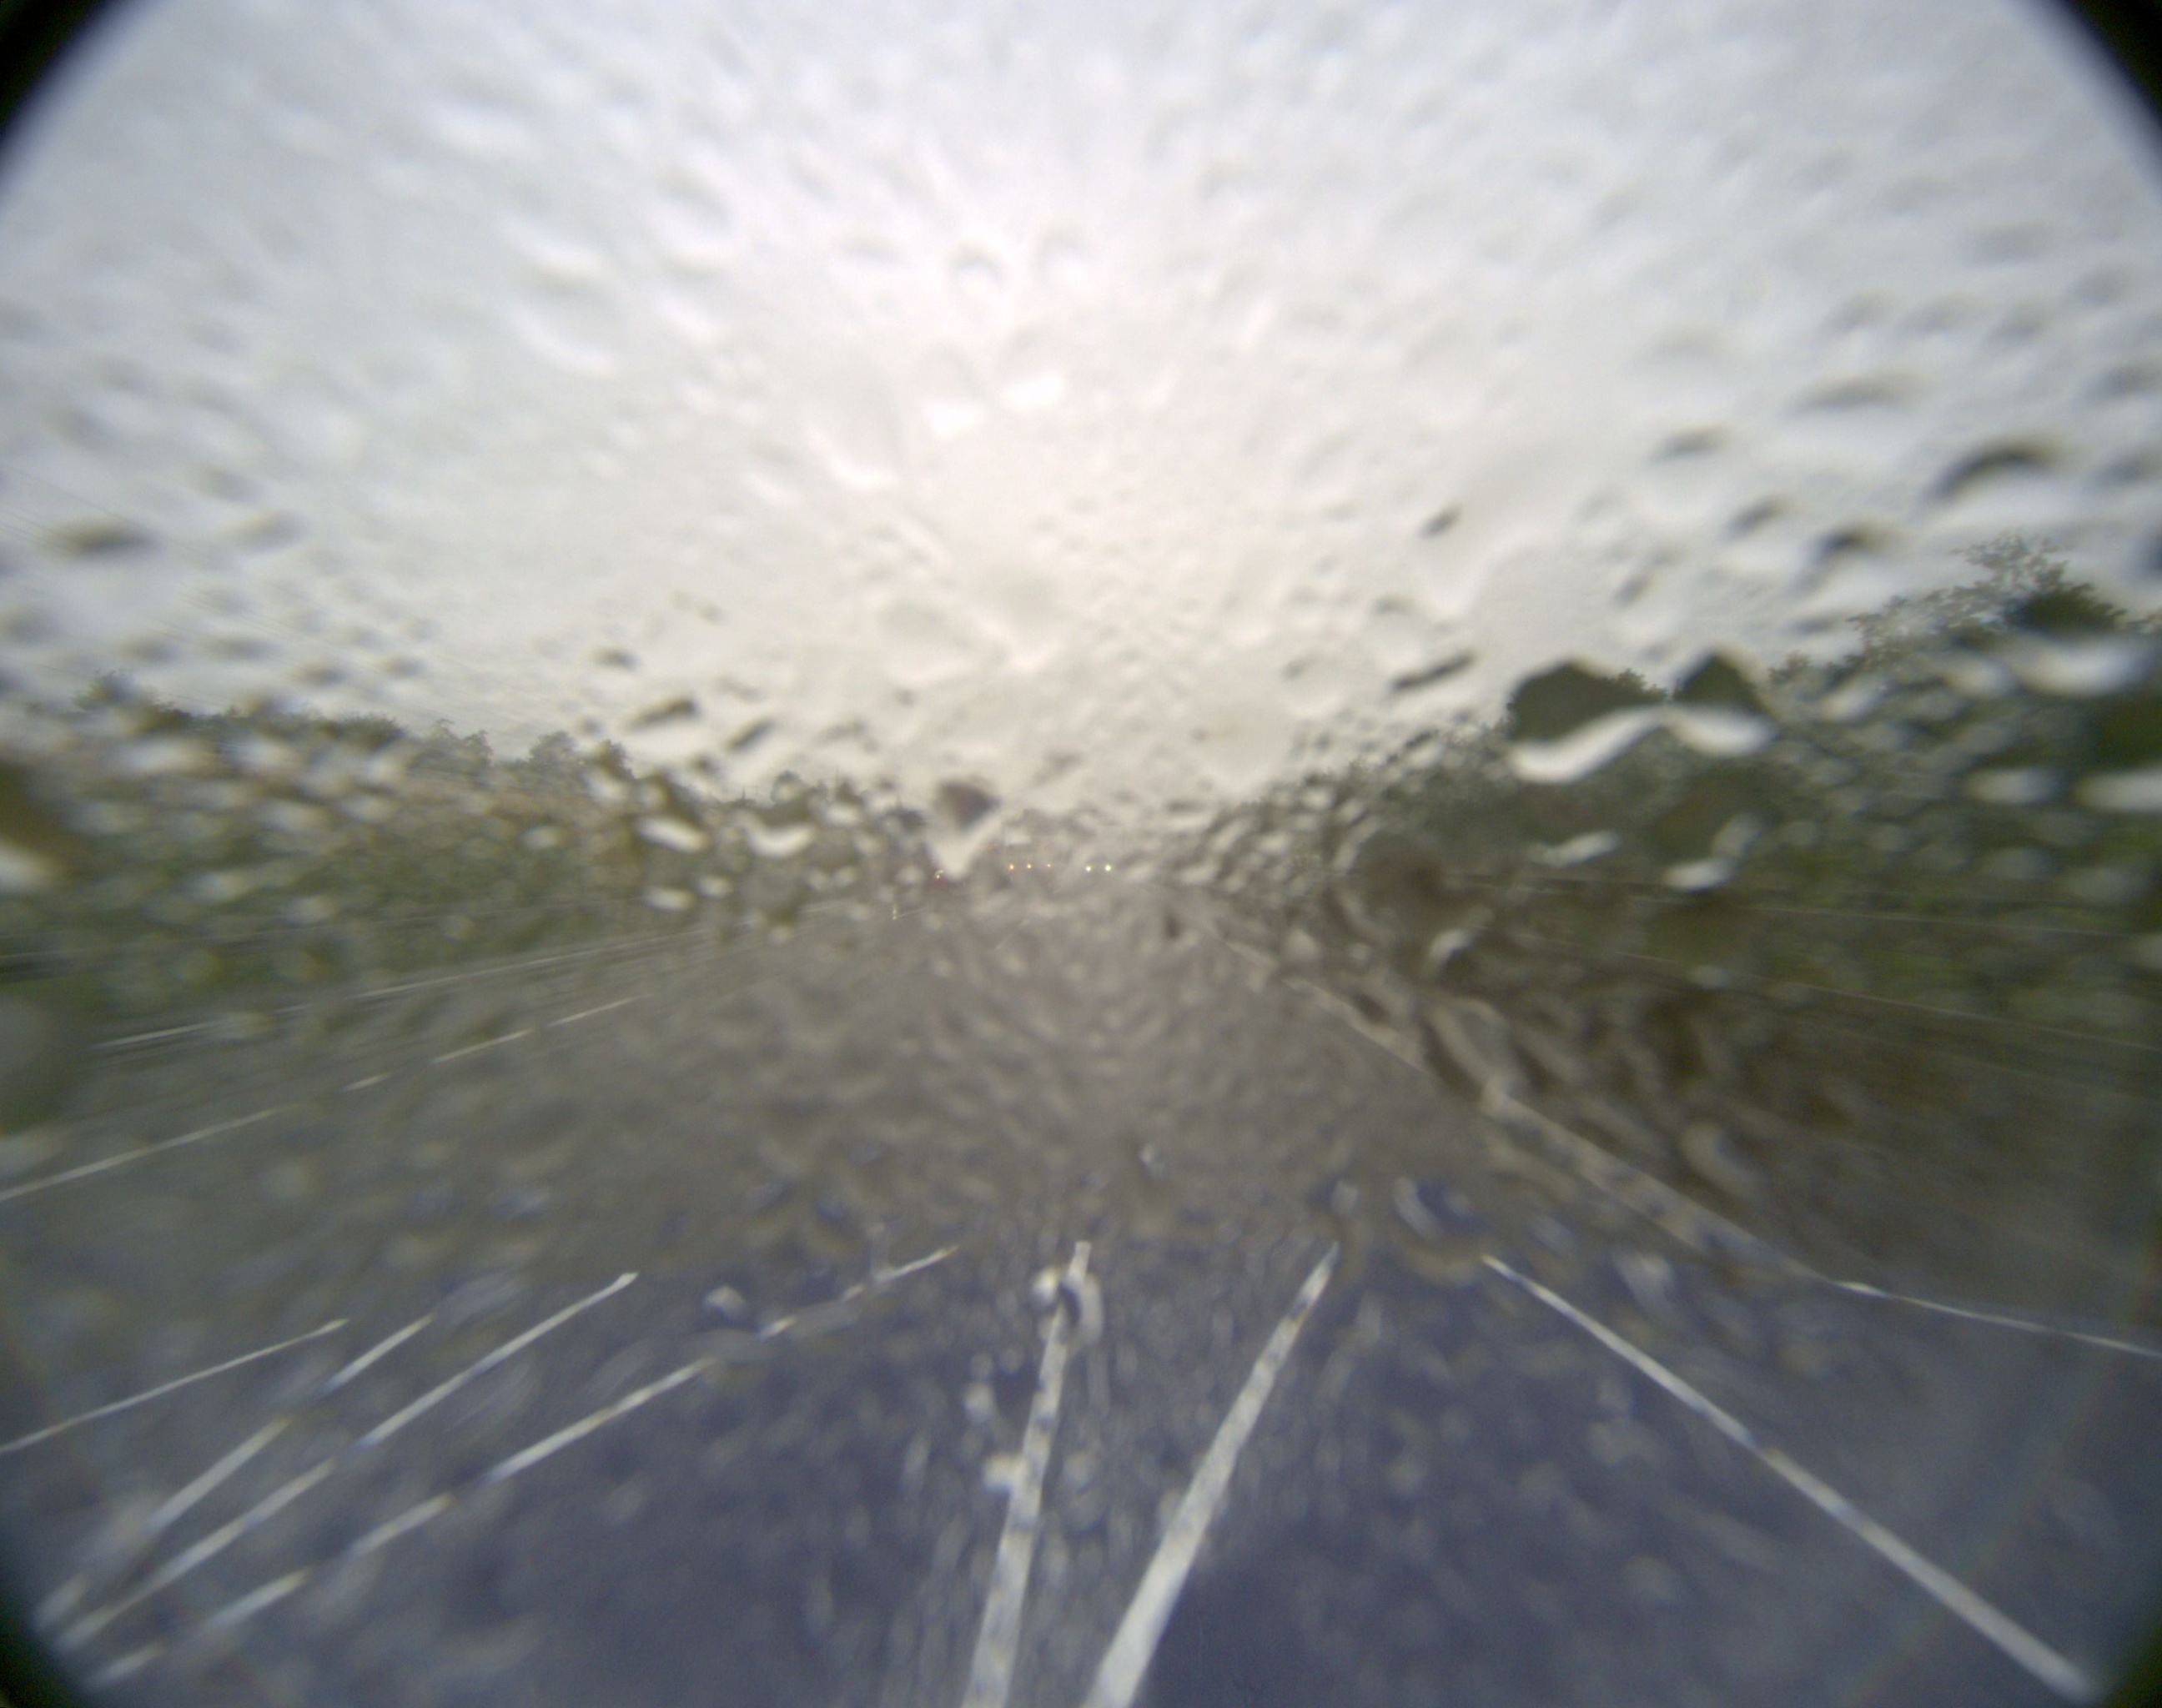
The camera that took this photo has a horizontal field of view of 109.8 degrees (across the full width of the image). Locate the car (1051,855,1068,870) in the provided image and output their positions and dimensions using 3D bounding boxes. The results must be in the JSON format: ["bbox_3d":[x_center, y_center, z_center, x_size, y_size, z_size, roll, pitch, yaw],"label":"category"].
[{"bbox_3d":[-2.265,0.938,80.752,1.663,1.491,3.837,-2,-1,1],"label":"car"}]

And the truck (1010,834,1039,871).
[{"bbox_3d":[-6.103,-0.081,83.279,2.457,3.866,6.200,-2,-1,1],"label":"truck"}]

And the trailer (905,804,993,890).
[{"bbox_3d":[-6.662,-0.229,40.167,2.503,3.859,11.068,-2,-1,0],"label":"trailer"}]

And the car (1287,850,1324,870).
[{"bbox_3d":[19.949,0.478,67.731,1.738,1.653,4.663,-2,1,-1],"label":"car"}]

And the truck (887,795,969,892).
[{"bbox_3d":[-6.739,-0.382,34.169,2.503,3.959,5.076,-2,-1,0],"label":"truck"}]

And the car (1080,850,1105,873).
[{"bbox_3d":[0.920,0.604,60.680,1.845,1.670,4.001,-2,-1,1],"label":"car"}]
